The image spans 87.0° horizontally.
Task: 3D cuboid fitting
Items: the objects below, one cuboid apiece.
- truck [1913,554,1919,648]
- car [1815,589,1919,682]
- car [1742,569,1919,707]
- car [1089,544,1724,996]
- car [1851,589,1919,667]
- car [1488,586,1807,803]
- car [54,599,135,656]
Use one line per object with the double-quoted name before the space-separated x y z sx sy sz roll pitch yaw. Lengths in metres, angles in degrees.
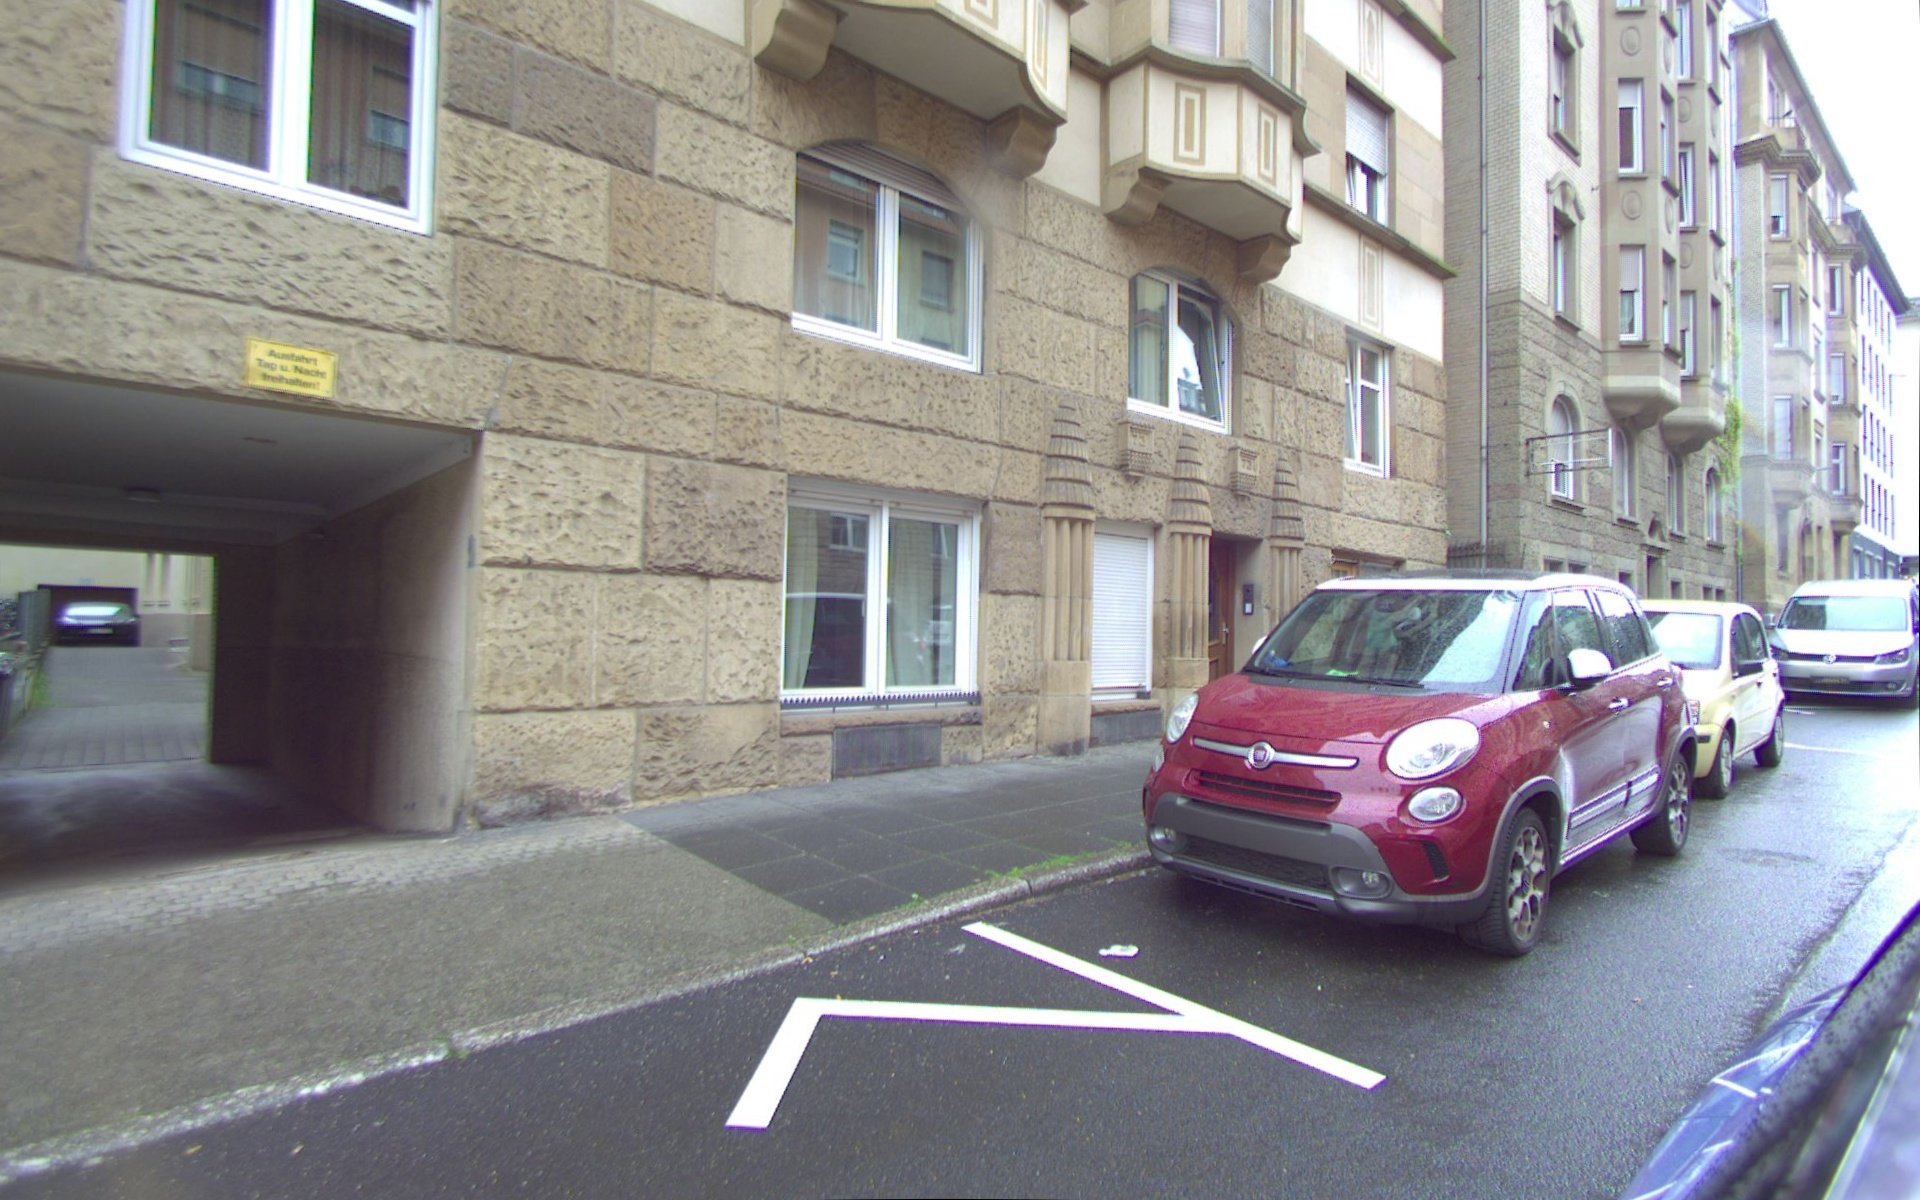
"truck" 29.171 0.022 28.887 6.036 2.568 2.233 0 -1 -41
"car" 17.179 0.600 18.508 3.934 1.549 1.994 0 -1 -45
"car" 13.771 0.501 15.517 4.380 1.825 1.966 0 -1 -41
"car" 2.687 0.613 5.638 3.932 1.619 1.804 0 -1 -42
"car" 20.485 0.547 21.448 3.860 1.549 1.889 0 -1 -41
"car" 6.208 0.677 9.000 3.517 1.549 1.578 0 -1 -43
"car" -25.177 0.764 29.463 1.692 1.541 4.098 0 -1 -41
